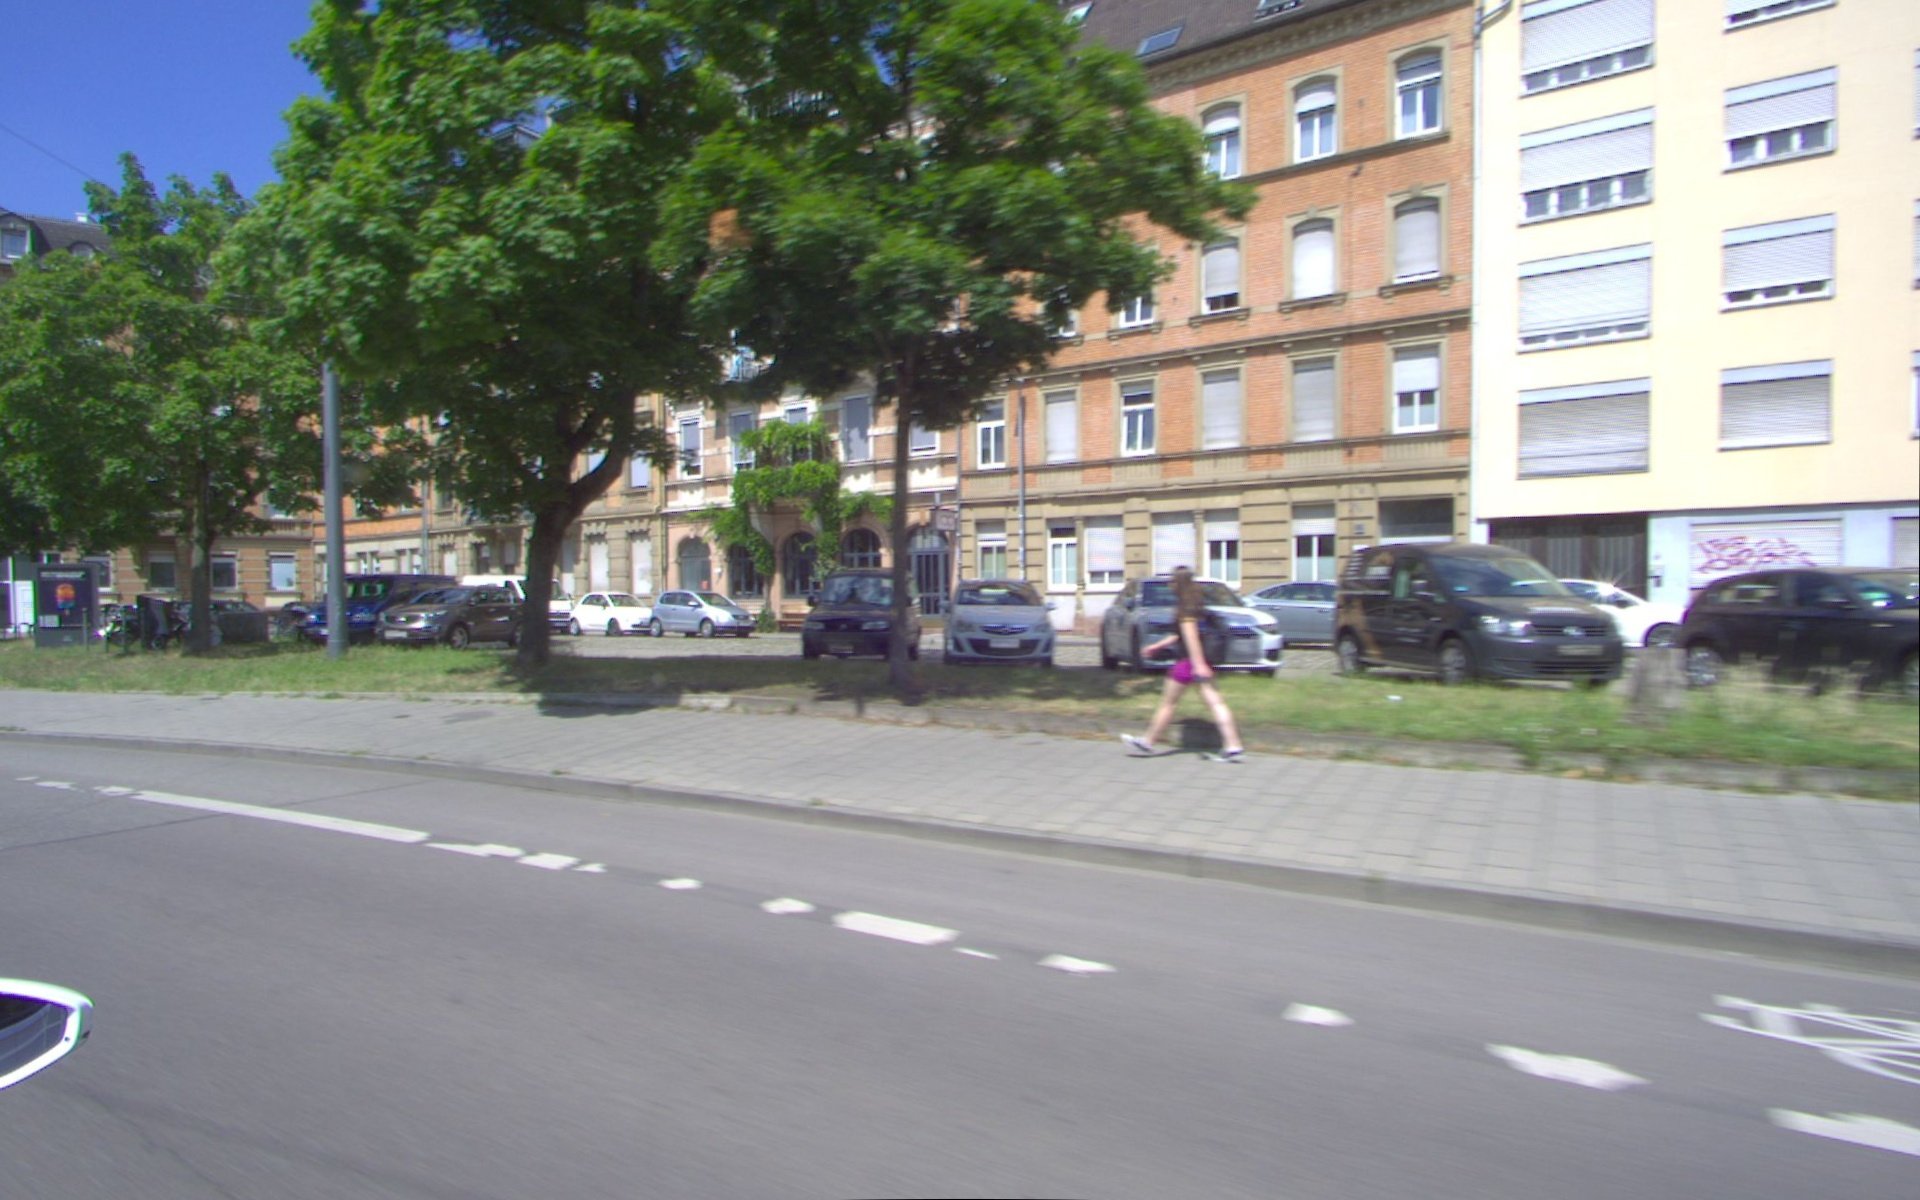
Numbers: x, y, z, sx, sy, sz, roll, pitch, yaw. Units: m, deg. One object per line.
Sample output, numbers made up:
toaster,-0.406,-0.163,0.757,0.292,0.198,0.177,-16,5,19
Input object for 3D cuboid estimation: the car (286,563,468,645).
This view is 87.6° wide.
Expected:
car,-15.028,0.126,26.165,1.879,1.953,4.630,0,0,3

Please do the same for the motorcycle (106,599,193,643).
motorcycle,-22.813,0.580,28.206,0.630,1.182,1.779,0,1,32

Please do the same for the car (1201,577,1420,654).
car,7.523,0.335,21.616,4.168,1.511,1.827,-1,0,34

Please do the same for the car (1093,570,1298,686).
car,3.168,0.361,14.494,1.816,1.398,4.694,0,-1,-1

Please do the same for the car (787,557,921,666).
car,-1.805,0.213,18.370,1.816,1.764,4.150,0,0,3

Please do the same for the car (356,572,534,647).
car,-12.502,0.235,24.643,1.879,1.678,4.174,0,0,7

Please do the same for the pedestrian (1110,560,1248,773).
pedestrian,1.798,0.506,8.181,0.892,1.614,0.698,0,4,32

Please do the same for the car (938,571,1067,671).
car,0.558,0.326,16.365,1.816,1.424,4.085,0,0,-2

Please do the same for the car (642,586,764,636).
car,-8.211,0.356,31.921,3.800,1.511,1.655,-1,0,34

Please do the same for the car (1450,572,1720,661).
car,11.694,0.310,18.964,4.168,1.511,1.827,-1,0,34

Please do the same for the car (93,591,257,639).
car,-25.380,0.429,32.587,1.770,1.446,4.258,0,1,4

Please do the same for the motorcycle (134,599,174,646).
motorcycle,-21.045,0.567,26.130,0.633,1.182,1.887,-2,1,-44

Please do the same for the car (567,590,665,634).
car,-11.769,0.380,34.252,3.306,1.422,1.558,0,1,36

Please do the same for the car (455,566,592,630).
car,-16.152,-0.034,36.968,5.319,2.207,2.105,-1,0,34

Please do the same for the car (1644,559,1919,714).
car,9.519,0.342,10.377,1.816,1.398,4.269,0,0,-3

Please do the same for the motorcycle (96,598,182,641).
motorcycle,-23.467,0.549,28.666,0.630,1.182,1.779,0,1,32

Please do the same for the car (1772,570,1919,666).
car,15.998,0.283,16.274,4.168,1.511,1.827,-1,0,34

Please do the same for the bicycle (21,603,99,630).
bicycle,-34.528,0.633,38.466,0.533,0.982,2.390,0,0,9

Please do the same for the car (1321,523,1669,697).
car,6.245,0.124,12.373,1.816,1.764,4.366,0,0,-3
